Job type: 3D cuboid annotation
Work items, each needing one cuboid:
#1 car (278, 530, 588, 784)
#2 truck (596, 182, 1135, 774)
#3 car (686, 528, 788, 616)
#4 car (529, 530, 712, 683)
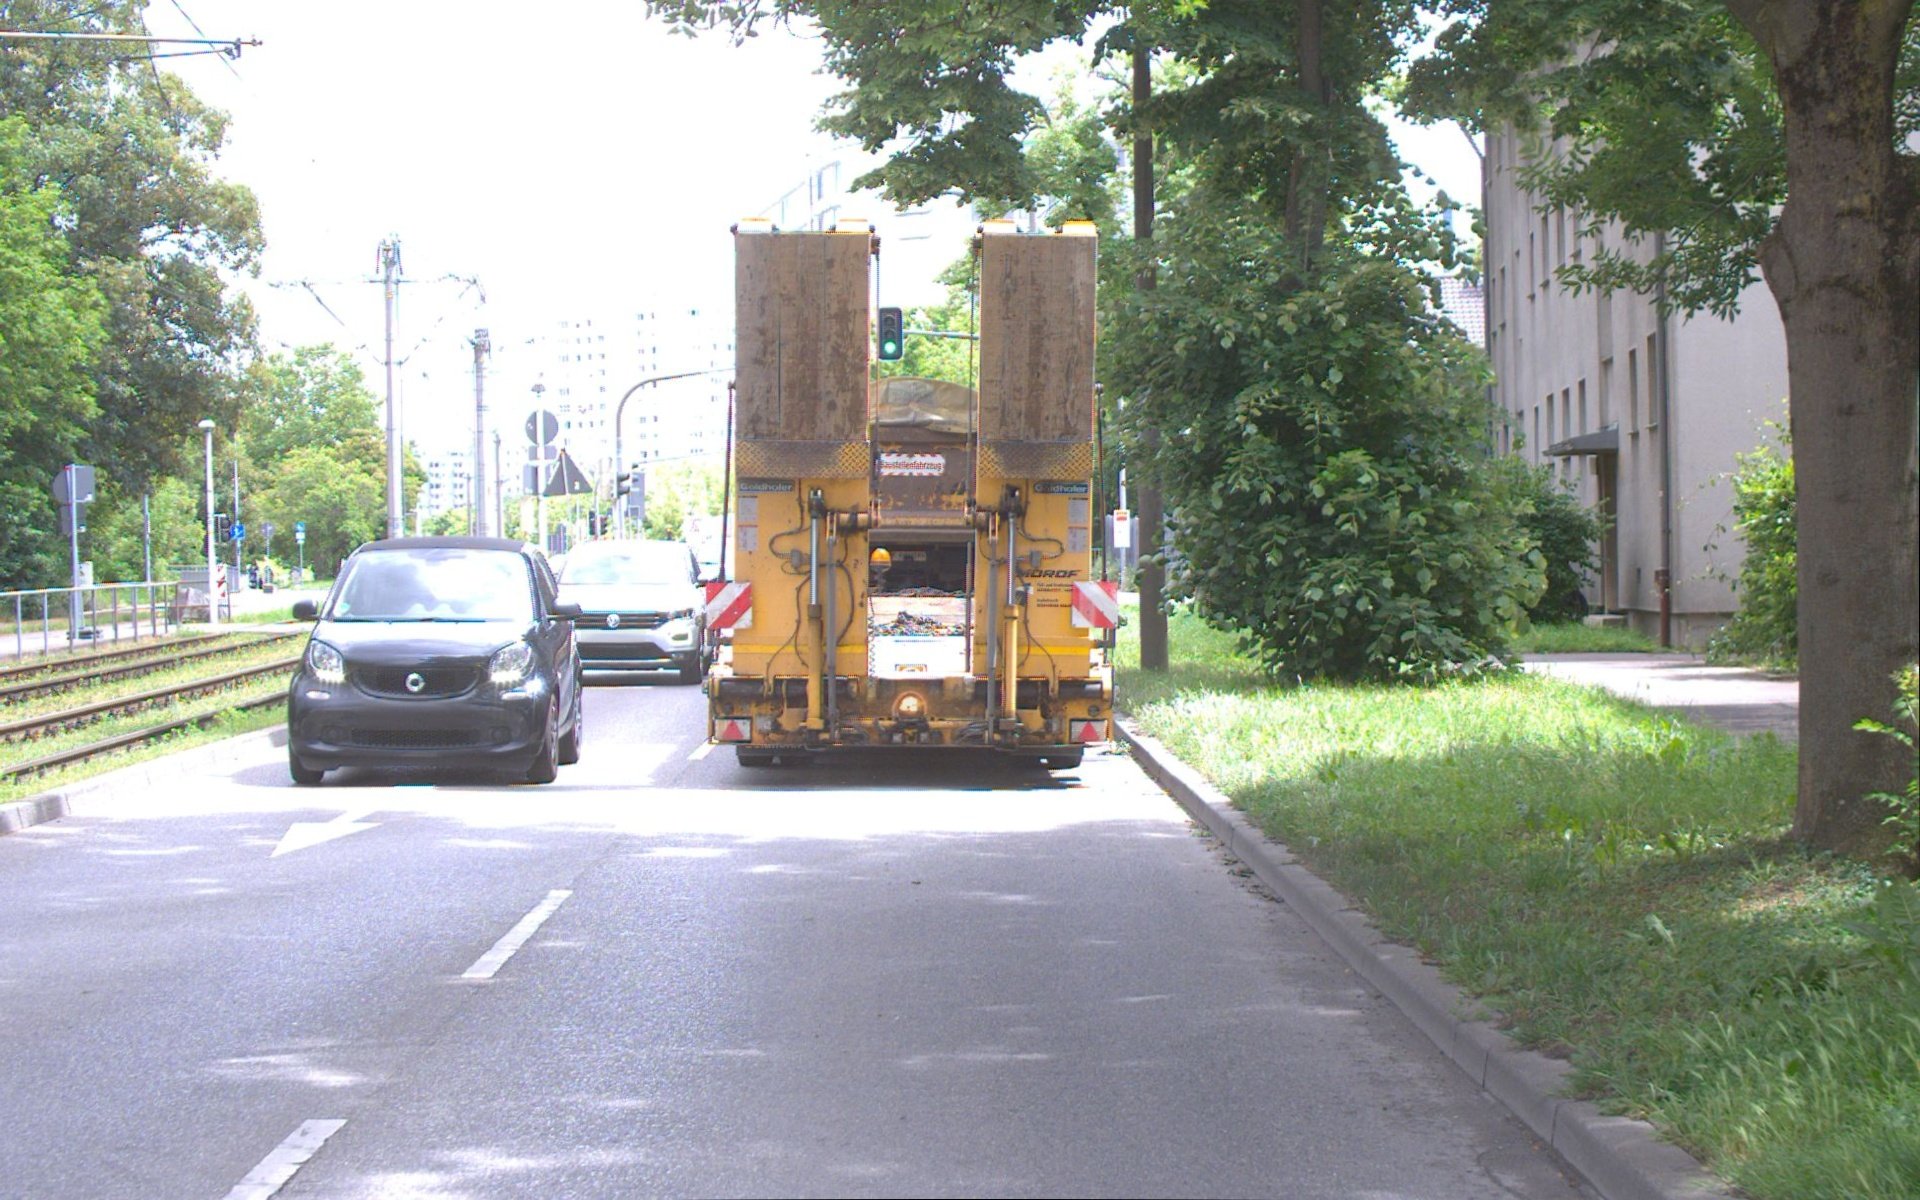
[{"bbox_3d":[-3.407,0.317,22.716,1.637,1.528,3.275,1,1,-2],"label":"car"},{"bbox_3d":[-0.818,-0.780,27.490,3.316,3.638,12.563,0,0,-2],"label":"truck"},{"bbox_3d":[-4.115,-0.548,63.871,1.713,1.561,4.167,1,1,-1],"label":"car"},{"bbox_3d":[-3.688,0.029,37.936,1.716,1.539,4.001,1,2,-2],"label":"car"}]
